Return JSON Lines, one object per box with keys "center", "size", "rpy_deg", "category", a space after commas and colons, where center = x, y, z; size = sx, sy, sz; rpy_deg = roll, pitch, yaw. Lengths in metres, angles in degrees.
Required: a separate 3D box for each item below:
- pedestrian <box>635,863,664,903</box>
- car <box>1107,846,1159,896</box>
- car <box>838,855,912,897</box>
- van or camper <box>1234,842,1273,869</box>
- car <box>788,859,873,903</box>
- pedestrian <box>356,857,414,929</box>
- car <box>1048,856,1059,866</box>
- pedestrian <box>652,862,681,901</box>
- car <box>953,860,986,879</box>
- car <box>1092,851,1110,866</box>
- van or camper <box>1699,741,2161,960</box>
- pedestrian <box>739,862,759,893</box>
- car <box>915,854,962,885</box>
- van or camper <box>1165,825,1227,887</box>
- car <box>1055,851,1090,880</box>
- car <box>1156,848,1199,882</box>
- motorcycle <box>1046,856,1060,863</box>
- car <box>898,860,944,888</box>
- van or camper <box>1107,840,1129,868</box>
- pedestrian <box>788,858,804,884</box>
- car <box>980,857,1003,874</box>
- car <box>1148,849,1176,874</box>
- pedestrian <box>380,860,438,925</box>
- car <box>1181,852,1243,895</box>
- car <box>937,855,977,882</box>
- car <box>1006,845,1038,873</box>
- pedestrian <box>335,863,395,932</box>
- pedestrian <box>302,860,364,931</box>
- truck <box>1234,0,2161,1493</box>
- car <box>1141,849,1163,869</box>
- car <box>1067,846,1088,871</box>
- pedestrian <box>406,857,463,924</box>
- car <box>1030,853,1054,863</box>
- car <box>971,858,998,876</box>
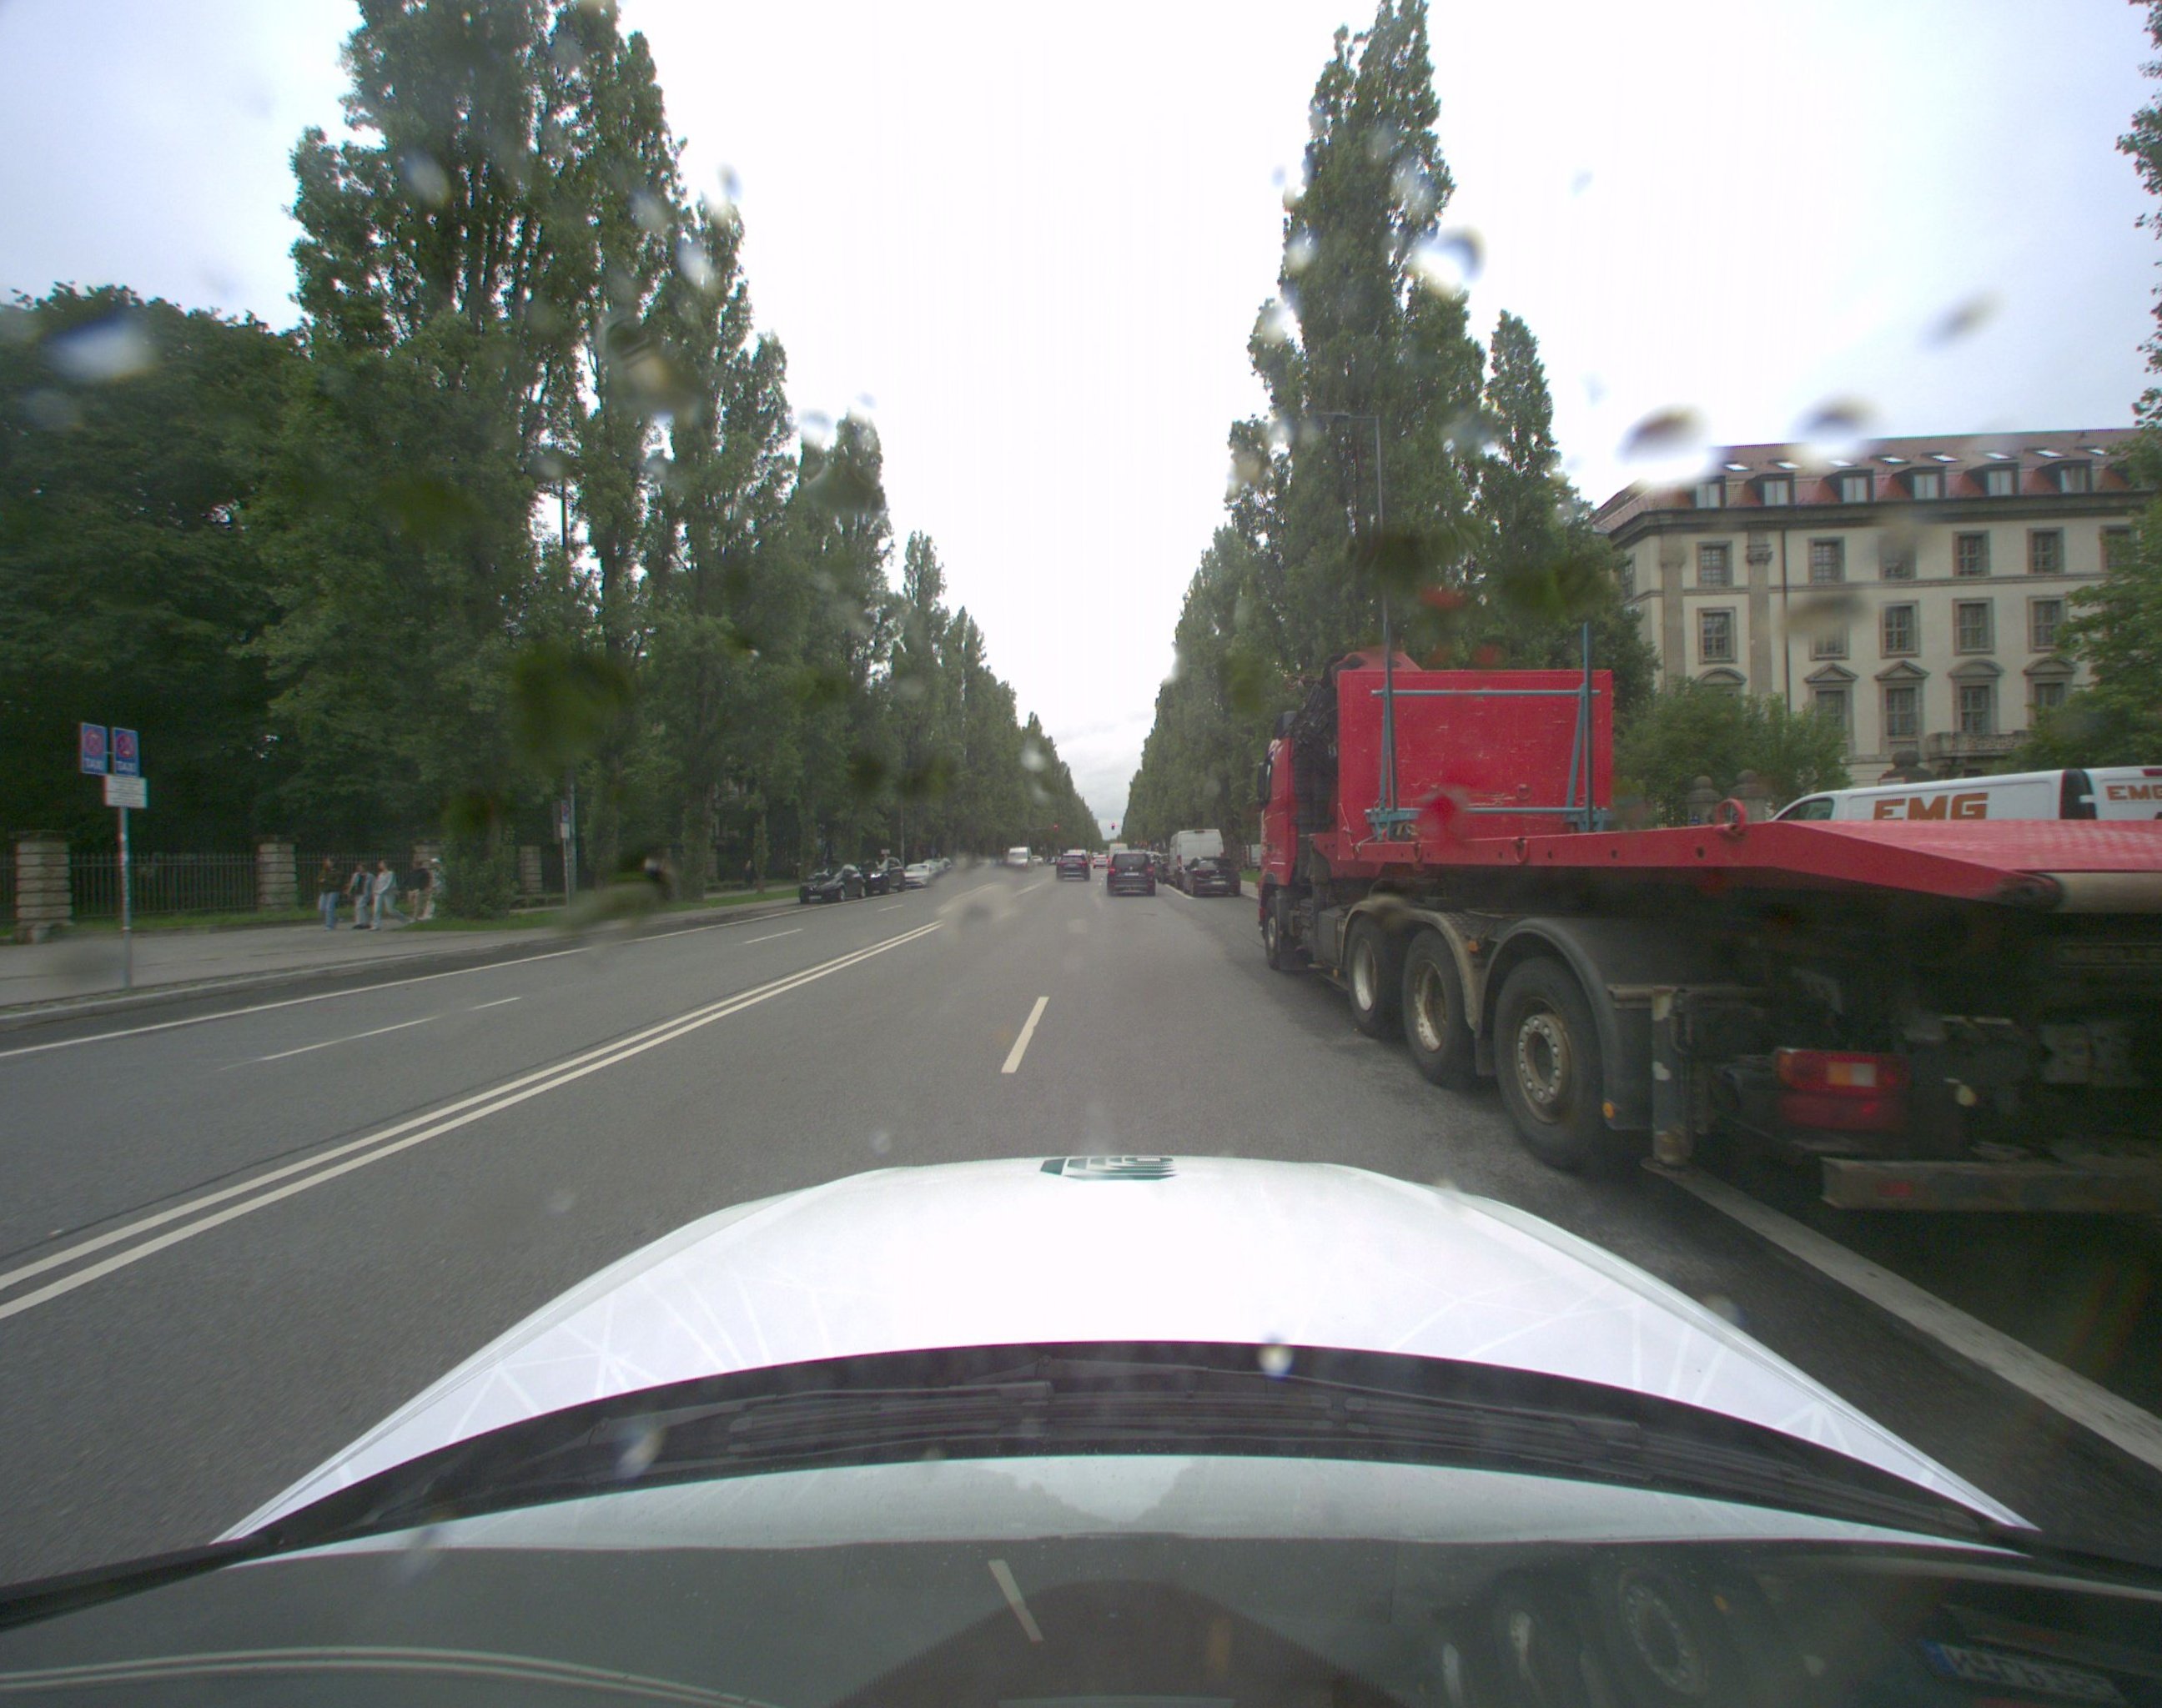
{"center": [-18.104, 1.213, 34.163], "size": [0.715, 1.605, 0.813], "rpy_deg": [-2, 0, 1], "category": "pedestrian"}
{"center": [1.952, 0.606, 31.064], "size": [1.848, 1.770, 4.003], "rpy_deg": [0, 0, 3], "category": "car"}
{"center": [-10.045, 1.022, 40.180], "size": [2.037, 1.786, 4.804], "rpy_deg": [-4, 0, 3], "category": "car"}
{"center": [12.978, 0.064, 61.497], "size": [2.067, 1.933, 5.373], "rpy_deg": [-1, 0, 3], "category": "van or camper"}
{"center": [-10.437, 1.098, 34.347], "size": [1.936, 1.583, 4.392], "rpy_deg": [-4, 0, 3], "category": "car"}
{"center": [-17.481, 0.971, 20.473], "size": [0.627, 1.747, 0.909], "rpy_deg": [-2, 0, 2], "category": "pedestrian"}
{"center": [-5.159, 1.354, 151.358], "size": [1.681, 1.783, 3.777], "rpy_deg": [-2, 0, 3], "category": "car"}
{"center": [-17.365, 1.141, 34.115], "size": [0.715, 1.548, 0.876], "rpy_deg": [-2, 0, 1], "category": "pedestrian"}
{"center": [-8.943, 1.208, 65.615], "size": [1.819, 1.334, 4.236], "rpy_deg": [-4, 0, 2], "category": "car"}
{"center": [2.246, 0.455, 91.792], "size": [1.986, 1.560, 4.002], "rpy_deg": [-2, 0, 2], "category": "car"}
{"center": [10.431, -0.053, 9.991], "size": [1.996, 2.013, 4.987], "rpy_deg": [-1, 0, 1], "category": "van or camper"}
{"center": [-19.339, 1.363, 47.406], "size": [0.663, 1.741, 0.958], "rpy_deg": [-2, 0, 3], "category": "pedestrian"}
{"center": [-9.436, 0.999, 54.221], "size": [1.902, 1.789, 5.183], "rpy_deg": [-4, 0, 2], "category": "car"}
{"center": [5.138, 0.096, 37.196], "size": [2.130, 2.540, 6.422], "rpy_deg": [-2, 0, 3], "category": "van or camper"}
{"center": [-0.463, 0.626, 48.665], "size": [1.774, 1.620, 4.028], "rpy_deg": [-1, 0, 3], "category": "car"}
{"center": [5.108, 0.549, 43.644], "size": [1.778, 1.648, 4.418], "rpy_deg": [-2, 0, 1], "category": "car"}
{"center": [-4.961, 0.953, 142.646], "size": [2.354, 1.269, 0.931], "rpy_deg": [-1, 0, 3], "category": "motorcycle"}
{"center": [-9.531, 1.180, 48.782], "size": [1.697, 1.459, 4.275], "rpy_deg": [-4, 0, 2], "category": "car"}
{"center": [3.498, -0.034, 77.384], "size": [1.968, 2.548, 4.025], "rpy_deg": [-2, 0, 1], "category": "van or camper"}
{"center": [-19.580, 1.192, 55.910], "size": [0.663, 1.741, 0.958], "rpy_deg": [-2, 0, 3], "category": "pedestrian"}
{"center": [-8.640, 1.127, 78.711], "size": [1.703, 1.451, 3.587], "rpy_deg": [-4, 0, 1], "category": "car"}
{"center": [5.826, 0.489, 58.711], "size": [1.736, 1.675, 4.583], "rpy_deg": [-2, 0, 3], "category": "car"}
{"center": [-18.854, 1.062, 22.874], "size": [0.707, 1.772, 1.093], "rpy_deg": [0, 0, 2], "category": "pedestrian"}
{"center": [4.743, 0.678, 30.002], "size": [1.670, 1.420, 4.001], "rpy_deg": [-2, 0, 1], "category": "car"}
{"center": [-9.091, 1.009, 60.085], "size": [1.934, 1.767, 4.897], "rpy_deg": [-4, 0, 1], "category": "car"}
{"center": [-5.741, 0.443, 80.115], "size": [2.219, 2.483, 6.761], "rpy_deg": [-3, 0, 2], "category": "car"}
{"center": [-18.217, 1.086, 20.741], "size": [0.685, 1.700, 0.886], "rpy_deg": [-2, 0, 2], "category": "pedestrian"}
{"center": [-18.880, 1.031, 20.565], "size": [0.657, 1.716, 0.911], "rpy_deg": [-2, 0, 2], "category": "pedestrian"}
{"center": [3.541, -0.449, 6.883], "size": [2.834, 3.564, 10.283], "rpy_deg": [-1, 0, 2], "category": "truck"}
{"center": [6.997, 0.435, 80.966], "size": [1.845, 1.881, 4.168], "rpy_deg": [-2, 0, 1], "category": "car"}
{"center": [-0.316, 0.463, 72.361], "size": [1.776, 2.112, 4.023], "rpy_deg": [0, -2, 0], "category": "car"}
{"center": [-18.147, 0.992, 22.889], "size": [0.707, 1.833, 1.093], "rpy_deg": [0, 0, 2], "category": "pedestrian"}
{"center": [-6.277, 0.628, 131.243], "size": [1.691, 1.366, 3.846], "rpy_deg": [-2, 0, 40], "category": "car"}
{"center": [-8.754, 1.154, 74.383], "size": [1.764, 1.452, 4.234], "rpy_deg": [-4, 0, 1], "category": "car"}
